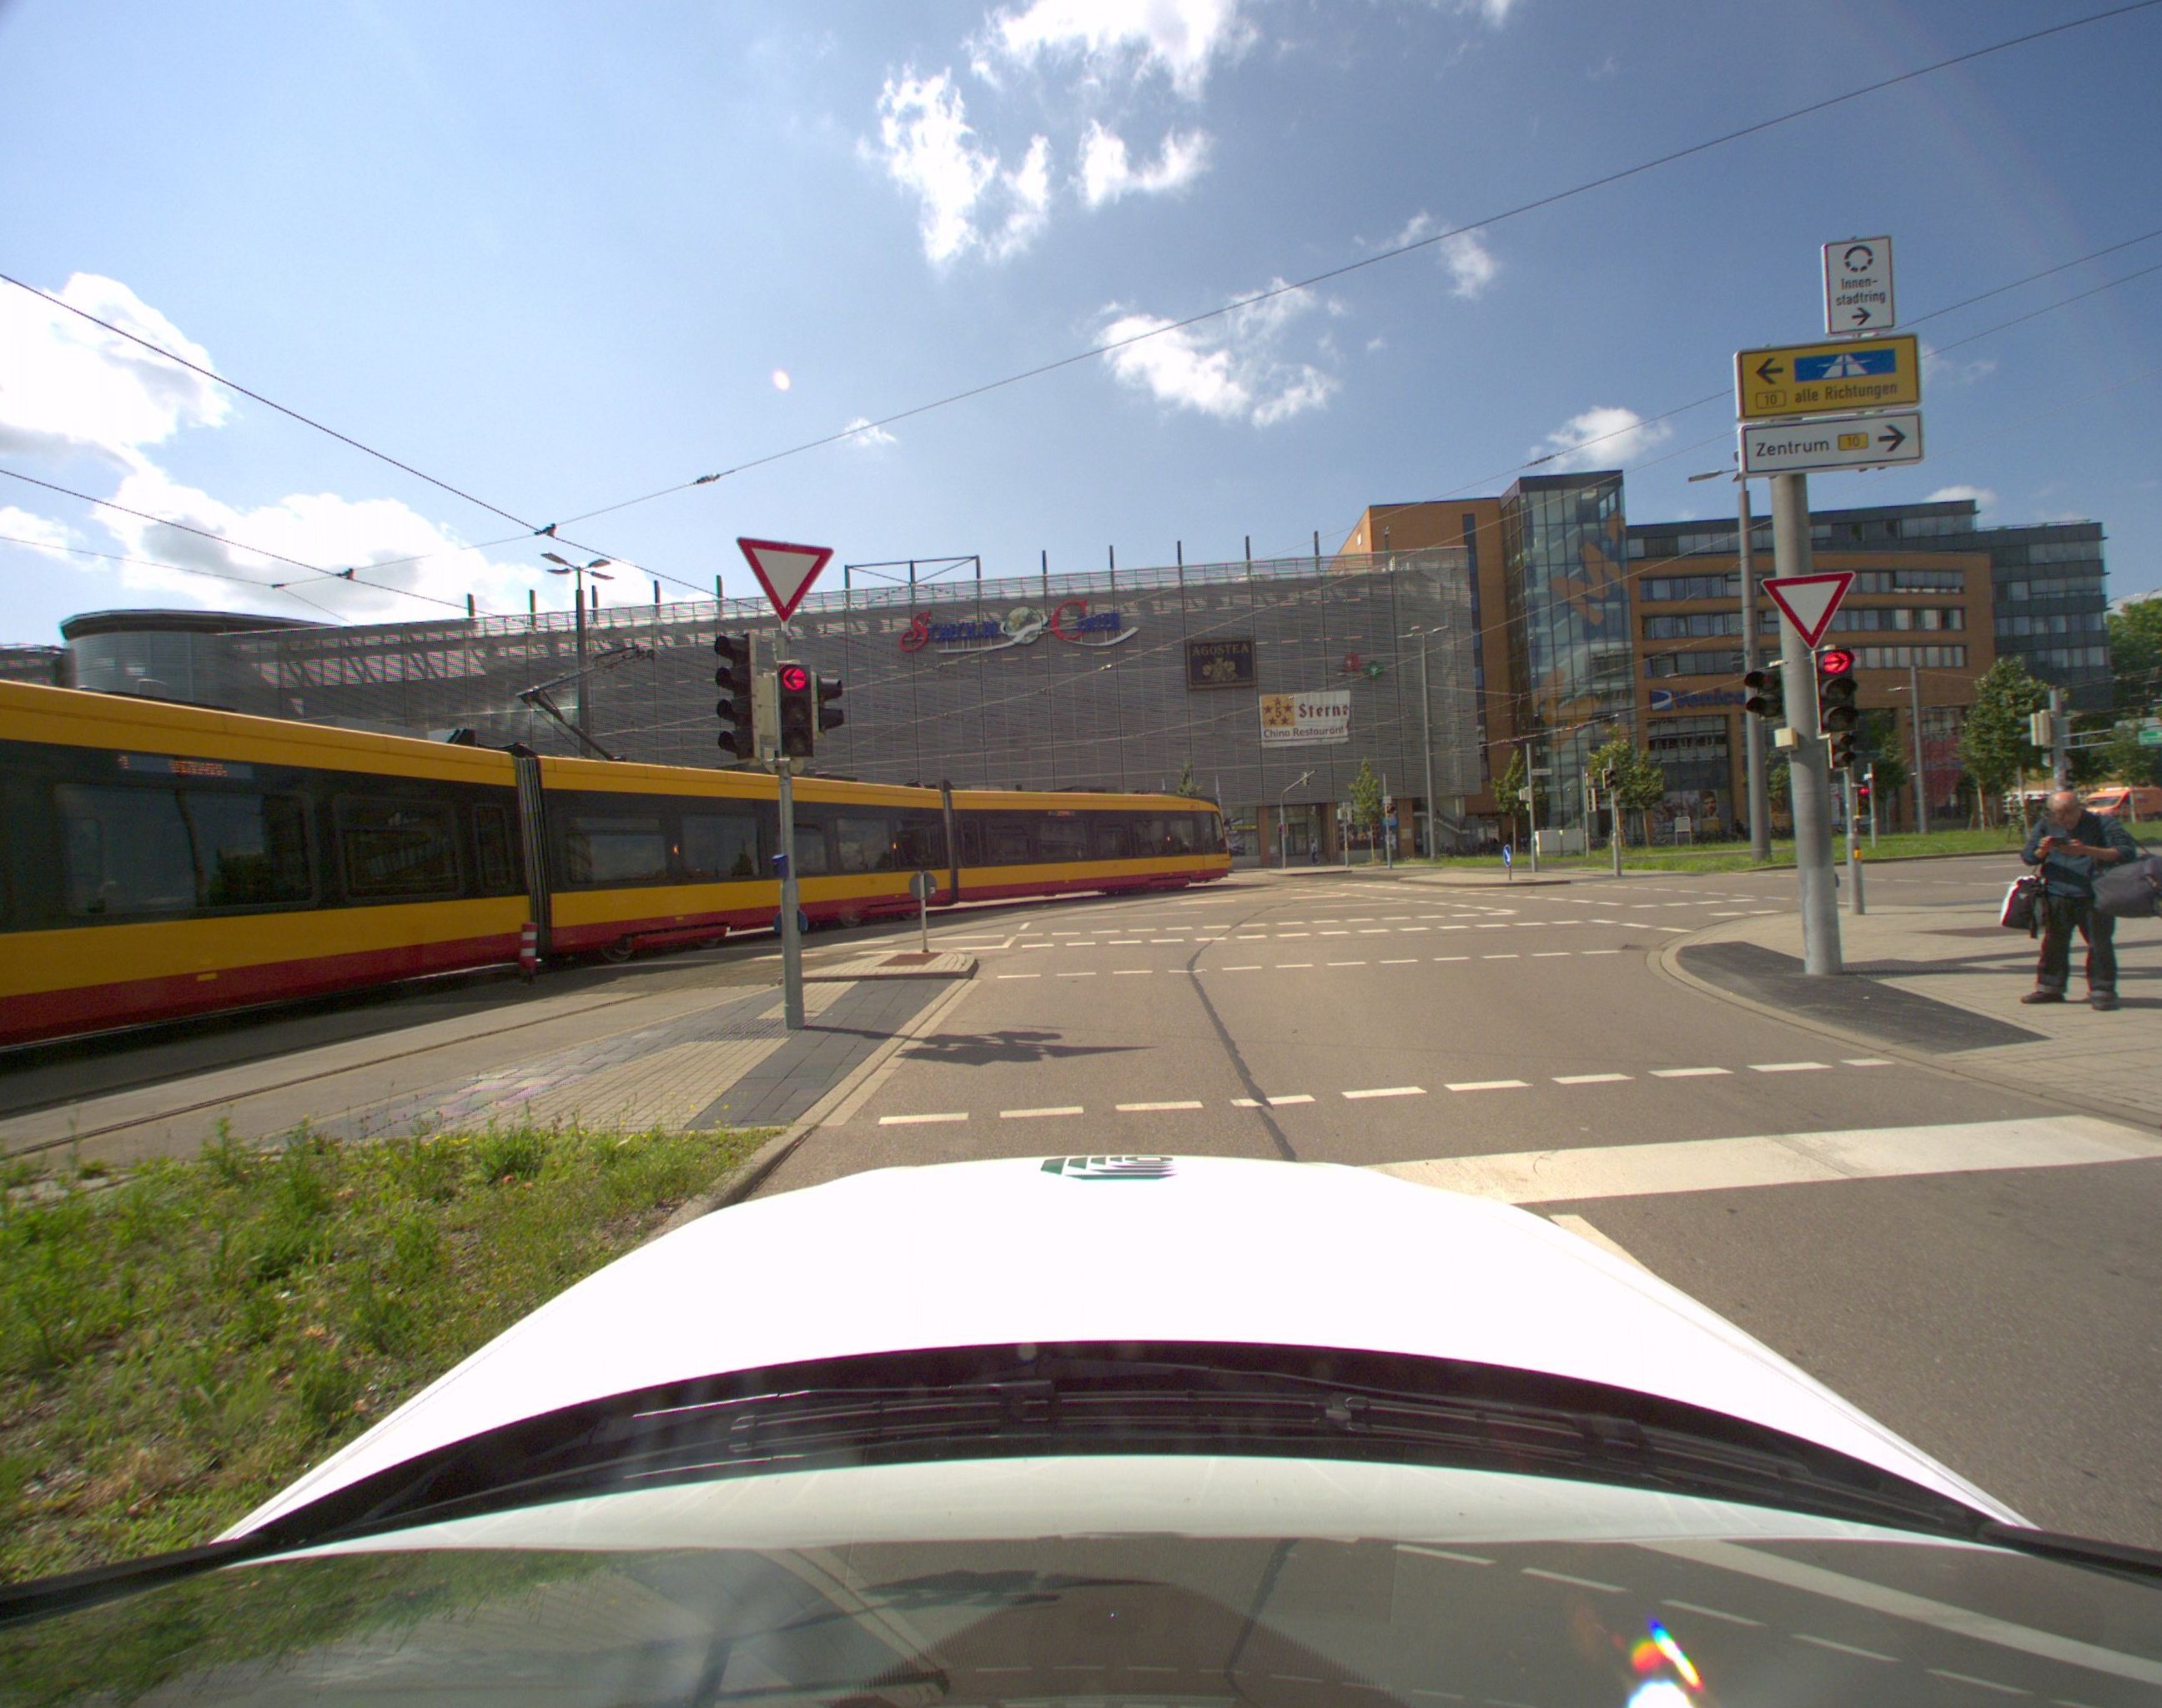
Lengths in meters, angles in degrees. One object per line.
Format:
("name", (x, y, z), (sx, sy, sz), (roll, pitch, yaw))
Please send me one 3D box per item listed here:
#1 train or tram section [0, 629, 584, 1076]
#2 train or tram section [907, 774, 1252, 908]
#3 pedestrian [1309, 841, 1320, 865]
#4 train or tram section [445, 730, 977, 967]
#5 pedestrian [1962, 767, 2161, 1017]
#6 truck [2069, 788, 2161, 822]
("train or tram section", (-10.338, 0.074, 6.194), (3.198, 3.599, 13.529), (-4, 0, 8))
("train or tram section", (0.618, -0.570, 27.422), (12.707, 3.621, 3.028), (-4, 0, -42))
("pedestrian", (17.069, -0.095, 59.617), (0.615, 1.746, 0.630), (-2, 0, 3))
("train or tram section", (-6.761, -0.143, 17.956), (3.026, 3.603, 11.059), (-4, 0, 26))
("pedestrian", (7.488, 0.252, 6.107), (0.810, 1.702, 0.911), (-3, -1, -25))
("truck", (69.744, -3.275, 54.675), (5.509, 2.085, 1.992), (-2, 0, -12))
